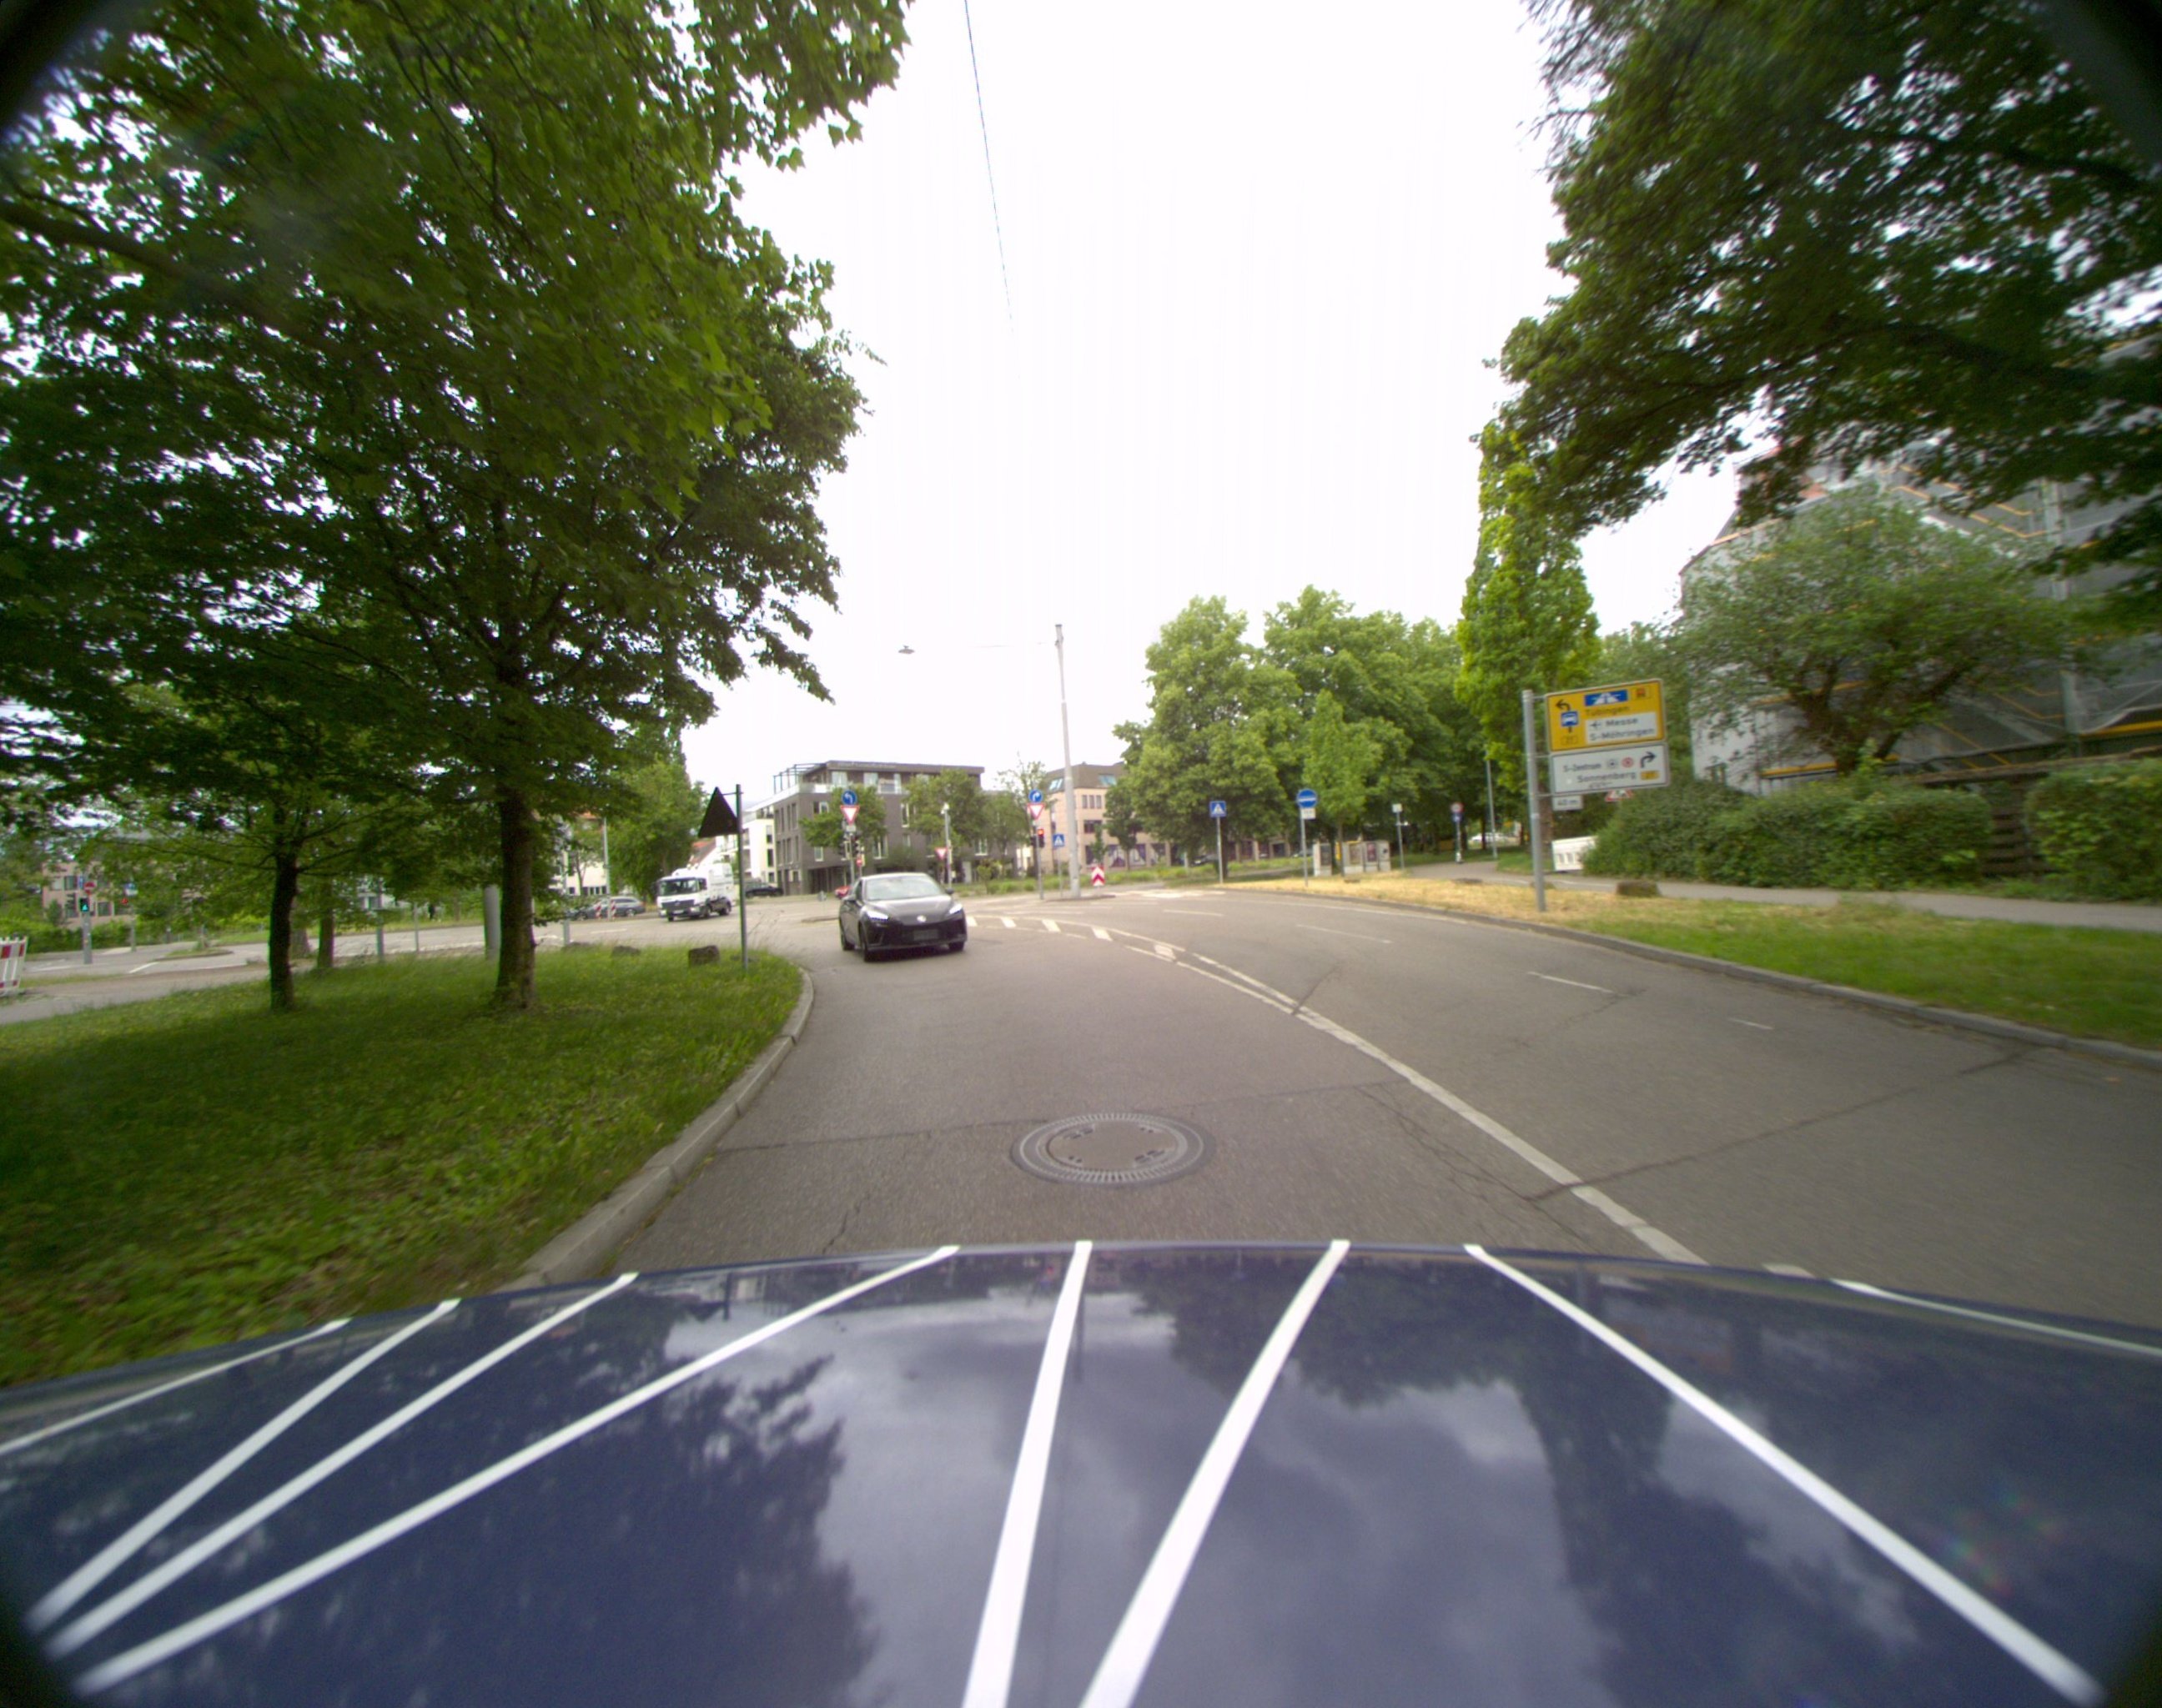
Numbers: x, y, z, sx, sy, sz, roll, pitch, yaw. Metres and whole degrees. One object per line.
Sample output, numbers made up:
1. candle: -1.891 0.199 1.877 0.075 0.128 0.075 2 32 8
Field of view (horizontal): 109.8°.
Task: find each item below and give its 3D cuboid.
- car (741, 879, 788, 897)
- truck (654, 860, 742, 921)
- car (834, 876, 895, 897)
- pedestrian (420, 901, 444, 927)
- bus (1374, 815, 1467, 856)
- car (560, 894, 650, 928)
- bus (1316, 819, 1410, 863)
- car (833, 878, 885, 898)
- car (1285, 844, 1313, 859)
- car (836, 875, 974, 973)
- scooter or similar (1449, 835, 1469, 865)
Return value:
1. car: -32.979 3.549 79.259 4.133 1.590 1.996 -2 -4 -37
2. truck: -22.435 2.011 44.870 2.437 3.176 6.462 -3 0 -7
3. car: -17.848 2.675 62.713 1.822 1.476 4.386 -7 -5 44
4. pedestrian: -44.757 4.141 52.390 0.607 1.685 1.005 -7 -1 35
5. bus: 30.907 -1.721 68.983 9.711 2.990 3.047 -5 -2 -37
6. car: -31.445 3.735 50.261 1.996 1.684 4.611 -7 -2 45
7. bus: 23.661 -1.131 63.551 8.443 2.990 3.047 -5 -2 -37
8. car: -18.938 2.897 64.854 3.908 1.476 1.769 -2 -4 -28
9. car: 31.299 -0.357 109.040 4.007 1.804 1.996 -5 -2 -42
10. car: -3.514 1.201 14.590 1.803 1.475 4.012 -2 0 -24
11. scooter or similar: 19.061 -0.202 38.350 0.555 1.437 1.594 -6 -1 19
